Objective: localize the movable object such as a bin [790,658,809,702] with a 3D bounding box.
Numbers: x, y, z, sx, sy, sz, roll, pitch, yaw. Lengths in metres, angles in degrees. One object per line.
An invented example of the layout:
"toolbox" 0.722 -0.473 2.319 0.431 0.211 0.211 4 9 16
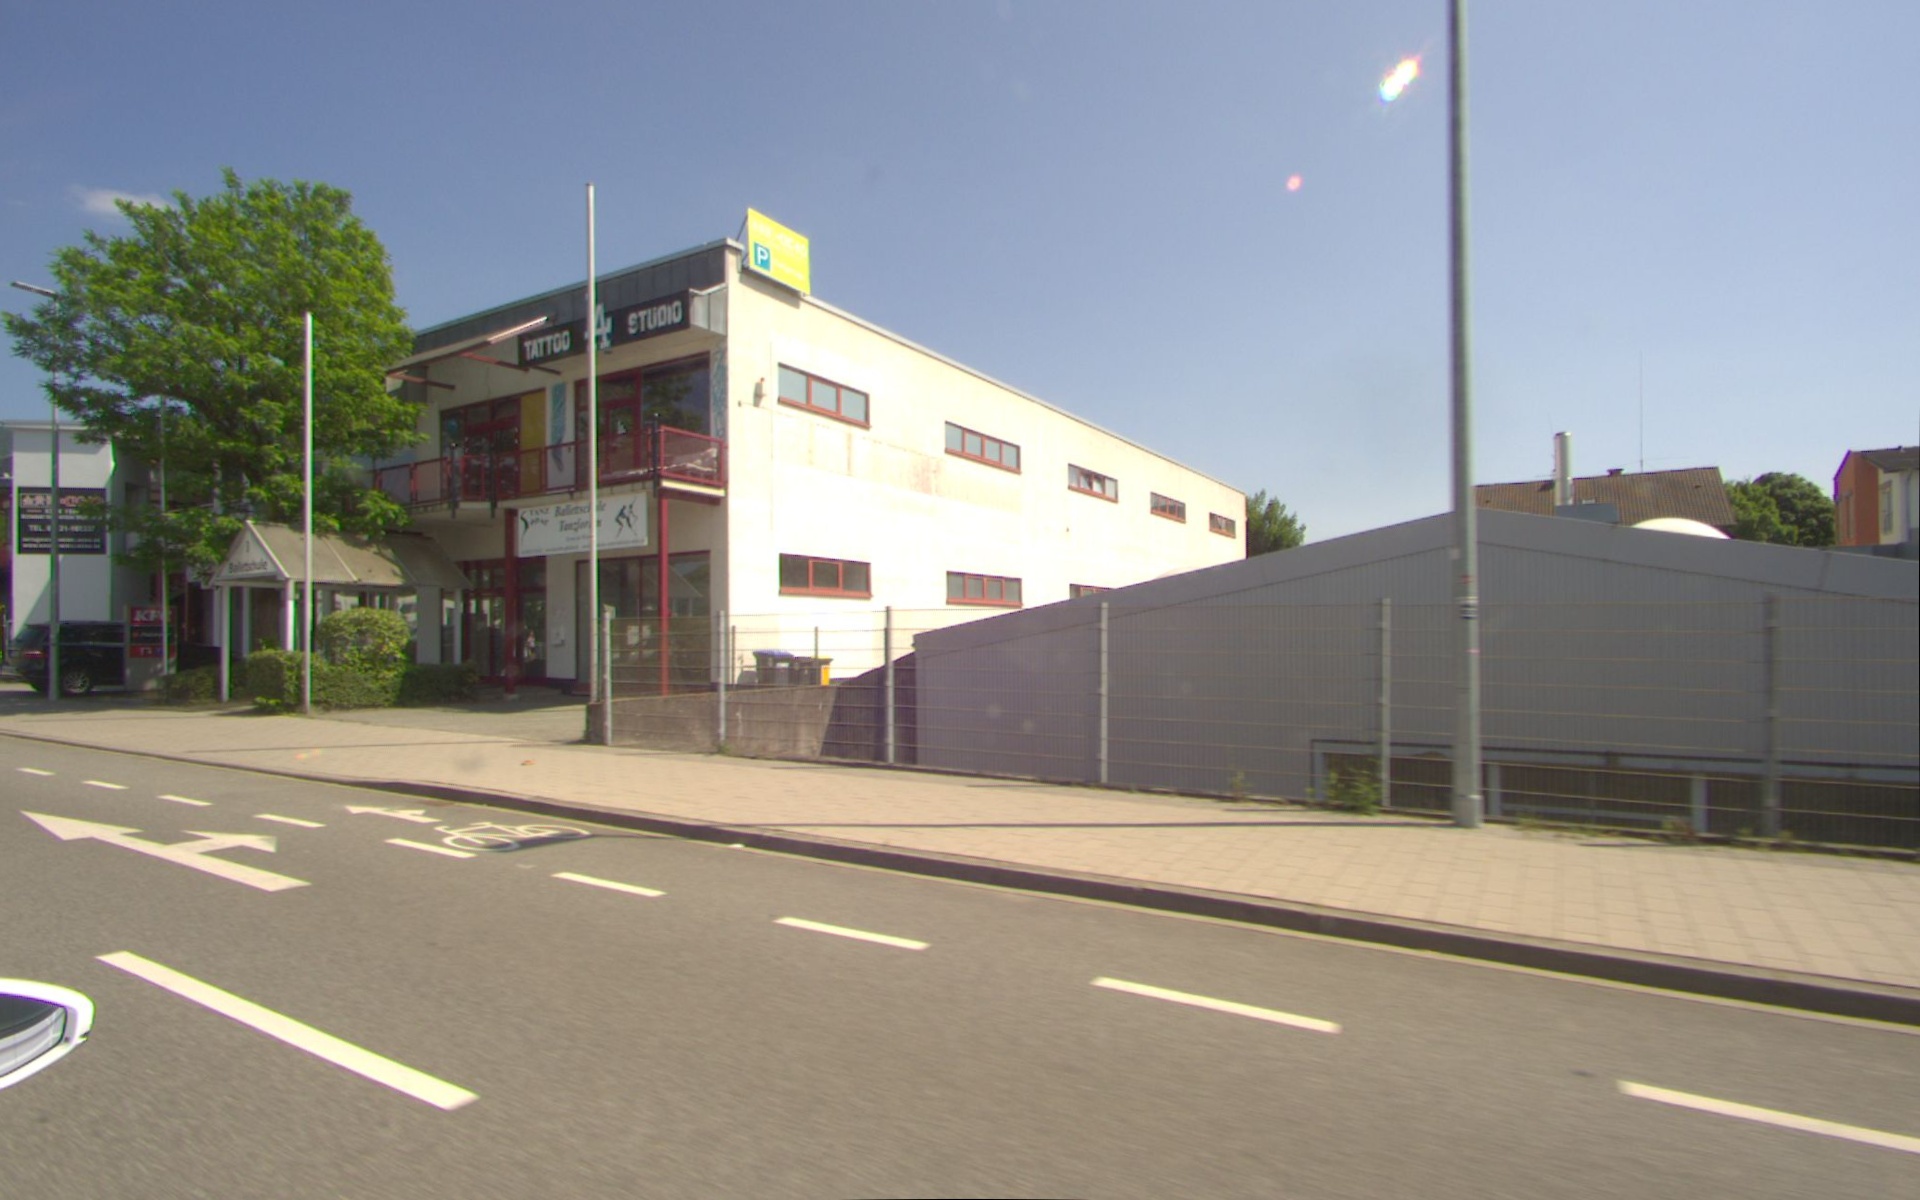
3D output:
"movable object such as a bin" -3.292 1.633 20.519 0.271 0.865 0.266 0 -1 34

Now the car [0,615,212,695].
"car" -21.128 1.292 24.668 1.975 1.798 3.973 -1 -2 38

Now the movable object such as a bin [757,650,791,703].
"movable object such as a bin" -3.701 1.510 19.903 0.537 1.025 0.411 -1 -1 34
